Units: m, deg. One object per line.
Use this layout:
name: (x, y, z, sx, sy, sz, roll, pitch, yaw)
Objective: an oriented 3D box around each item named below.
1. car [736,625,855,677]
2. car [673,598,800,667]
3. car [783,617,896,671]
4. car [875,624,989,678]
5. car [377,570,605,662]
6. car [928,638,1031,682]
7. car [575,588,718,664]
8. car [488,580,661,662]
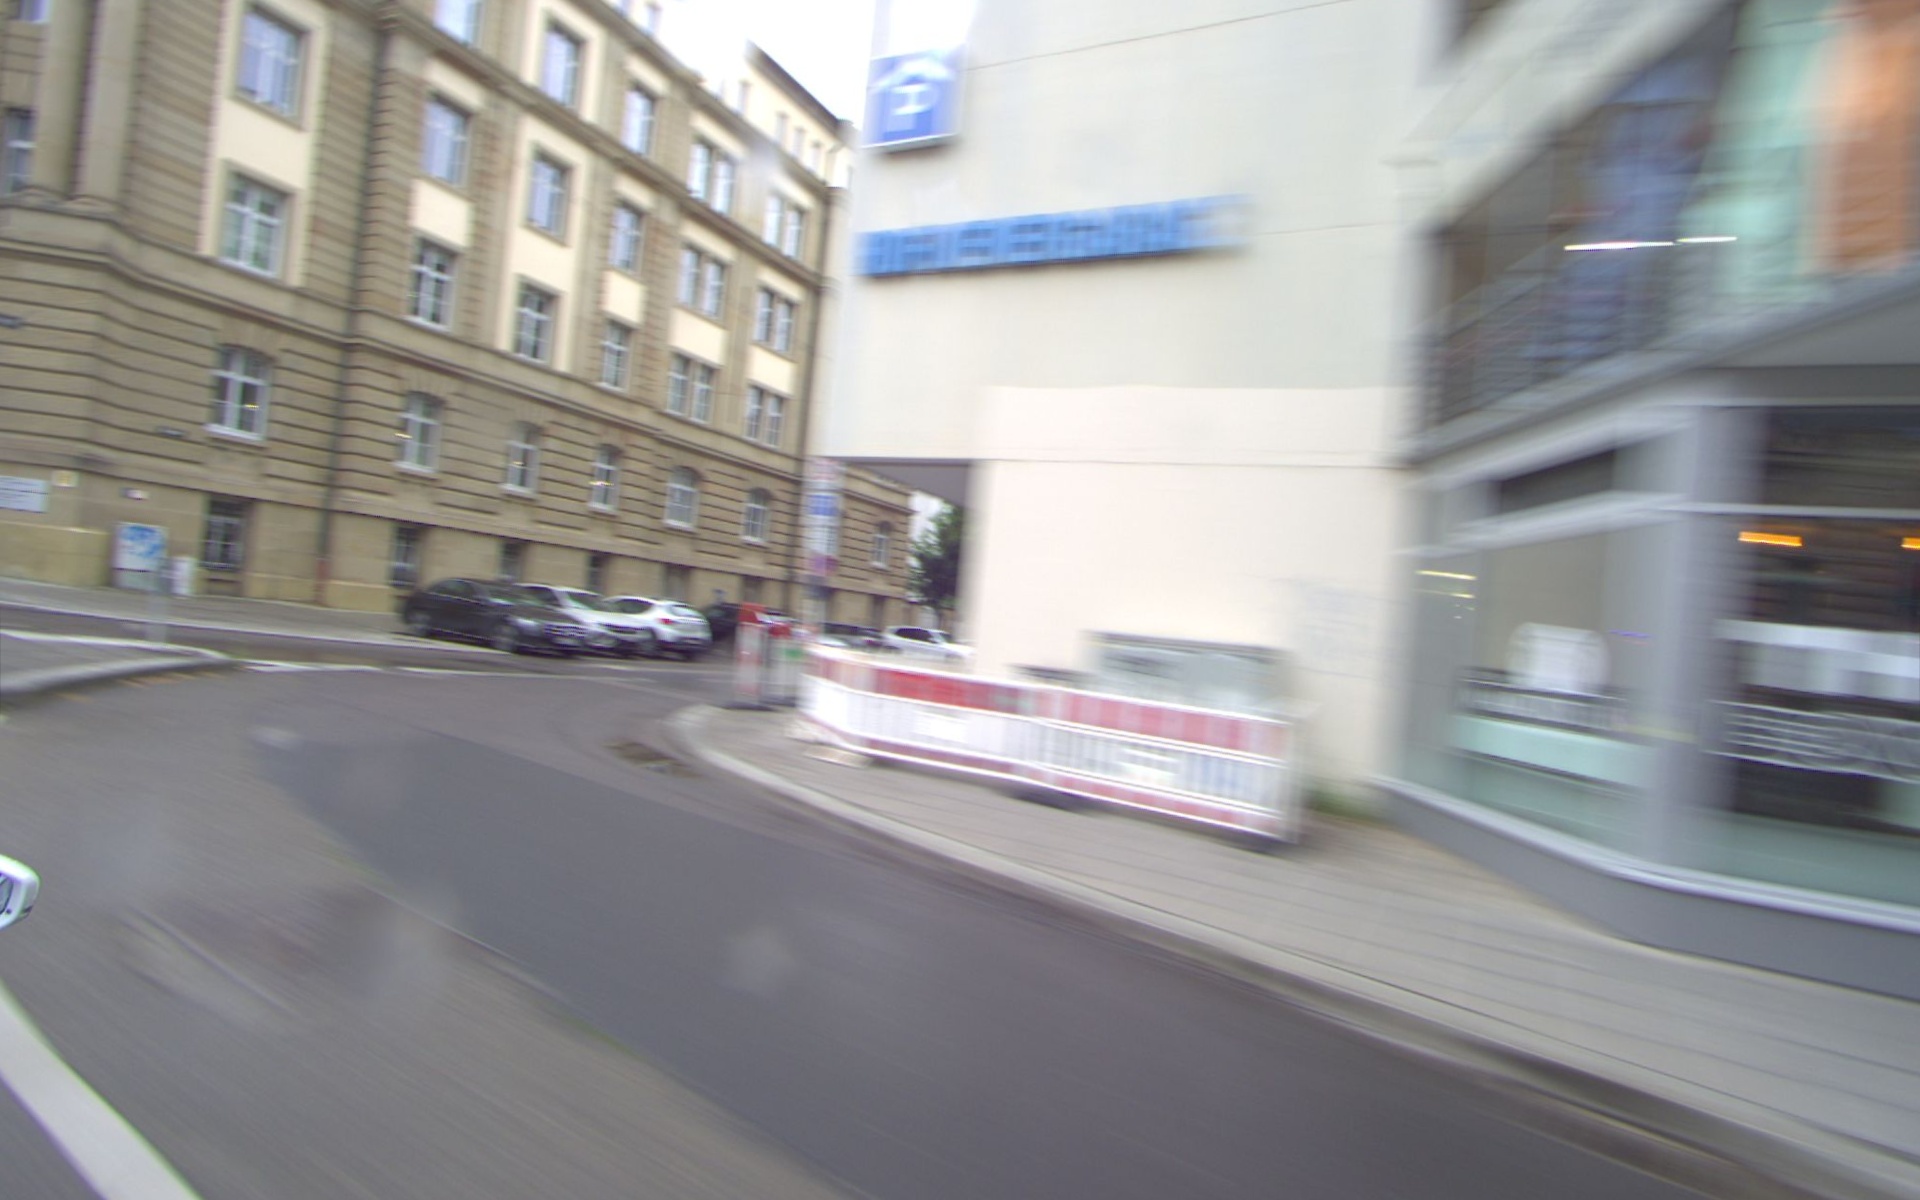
car: (-5.379, 1.659, 32.803, 3.519, 1.208, 1.683, 6, -2, 34)
car: (-6.794, 0.982, 30.498, 3.519, 1.594, 1.683, 6, -2, 34)
car: (-4.191, 1.518, 34.921, 3.519, 1.408, 1.683, 6, -2, 34)
car: (-1.170, 2.052, 40.984, 4.318, 1.623, 1.684, 6, -2, 33)
car: (-10.374, 0.337, 22.182, 4.914, 1.383, 1.740, 6, -2, 26)
car: (0.850, 2.693, 45.307, 4.318, 1.373, 1.684, 6, -2, 33)
car: (-8.402, 0.679, 26.877, 3.519, 1.534, 1.683, 6, -2, 34)
car: (-9.540, 0.489, 24.785, 4.262, 1.472, 1.736, 6, -2, 35)
